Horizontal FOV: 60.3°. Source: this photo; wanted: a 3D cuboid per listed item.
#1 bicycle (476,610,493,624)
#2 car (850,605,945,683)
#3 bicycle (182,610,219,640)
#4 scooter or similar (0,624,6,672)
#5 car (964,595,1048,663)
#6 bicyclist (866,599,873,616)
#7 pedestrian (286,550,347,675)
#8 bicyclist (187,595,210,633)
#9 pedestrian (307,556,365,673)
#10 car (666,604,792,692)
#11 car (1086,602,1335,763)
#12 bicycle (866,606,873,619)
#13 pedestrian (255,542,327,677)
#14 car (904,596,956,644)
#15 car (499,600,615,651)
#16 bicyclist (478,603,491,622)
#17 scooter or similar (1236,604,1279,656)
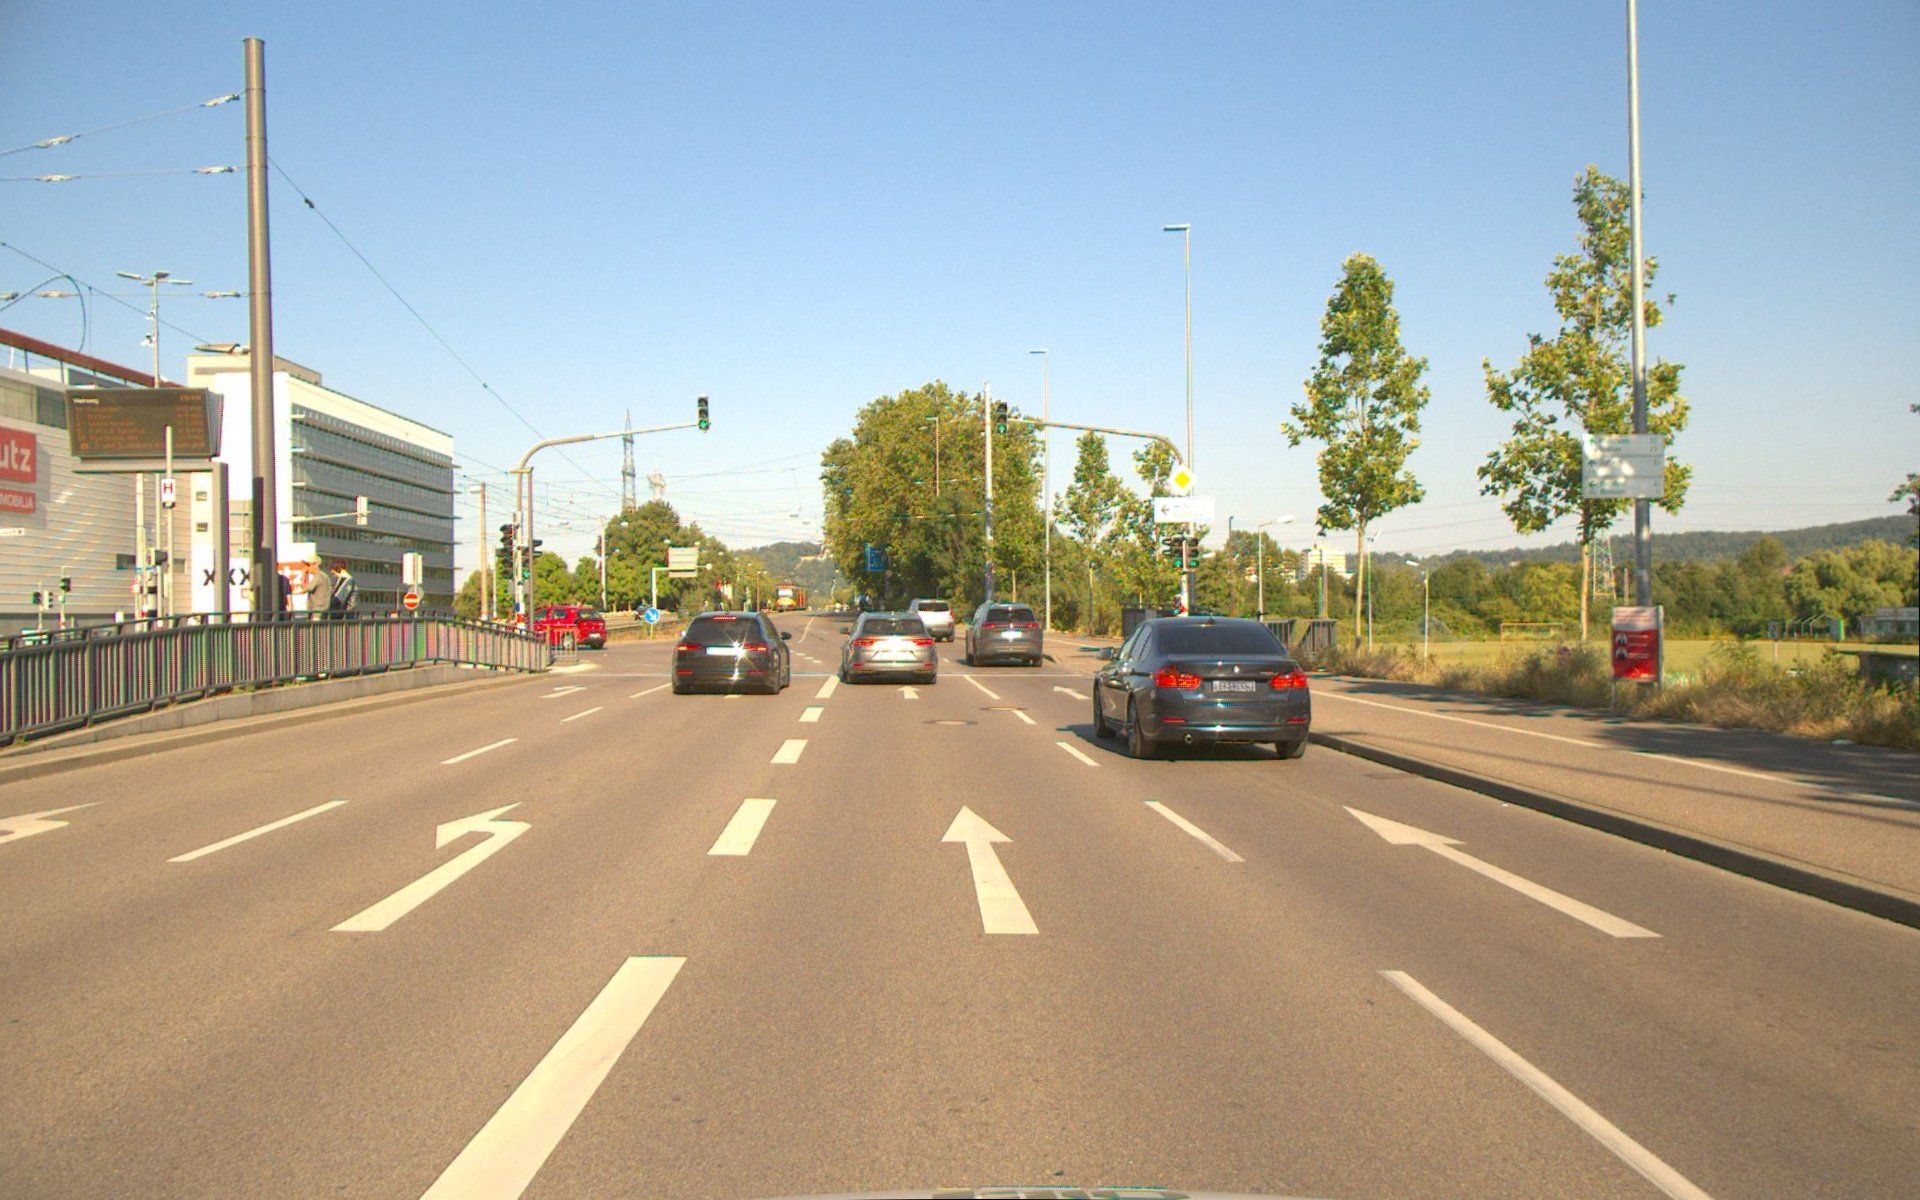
[{"bbox_3d":[-39.227,1.422,136.404,0.690,1.092,2.028,1,0,3],"label":"bicycle"},{"bbox_3d":[-1.364,0.869,34.632,1.829,1.493,4.662,1,0,-4],"label":"car"},{"bbox_3d":[-31.365,1.021,68.320,0.575,1.188,1.992,0,0,1],"label":"bicycle"},{"bbox_3d":[-21.113,1.049,35.431,1.056,1.033,0.778,-1,-2,-39],"label":"scooter or similar"},{"bbox_3d":[1.167,0.736,44.132,1.808,1.690,4.436,1,0,-4],"label":"car"},{"bbox_3d":[-8.096,0.669,148.149,0.672,1.535,0.890,0,0,-4],"label":"bicyclist"},{"bbox_3d":[-9.095,0.182,23.400,0.523,1.723,0.760,2,-1,-1],"label":"pedestrian"},{"bbox_3d":[-31.367,0.570,68.137,0.575,1.549,0.751,0,0,1],"label":"bicyclist"},{"bbox_3d":[-9.175,0.217,24.339,0.523,1.686,0.750,1,-1,-1],"label":"pedestrian"},{"bbox_3d":[-4.096,0.828,29.935,1.877,1.483,4.089,0,0,-3],"label":"car"},{"bbox_3d":[2.567,0.786,18.054,1.828,1.493,4.584,0,0,-3],"label":"car"},{"bbox_3d":[-8.104,1.128,148.234,0.610,1.140,1.811,-2,0,-4],"label":"bicycle"},{"bbox_3d":[-9.168,0.130,22.677,0.692,1.806,0.535,2,-1,1],"label":"pedestrian"},{"bbox_3d":[-1.255,0.798,67.493,1.846,1.827,3.996,1,0,-4],"label":"car"},{"bbox_3d":[-13.845,0.874,56.851,3.504,1.485,1.769,-4,-1,27],"label":"car"},{"bbox_3d":[-39.213,1.000,136.392,0.690,1.539,0.971,1,0,3],"label":"bicyclist"},{"bbox_3d":[7.329,0.732,40.759,0.515,1.252,1.261,-1,0,-16],"label":"scooter or similar"}]
